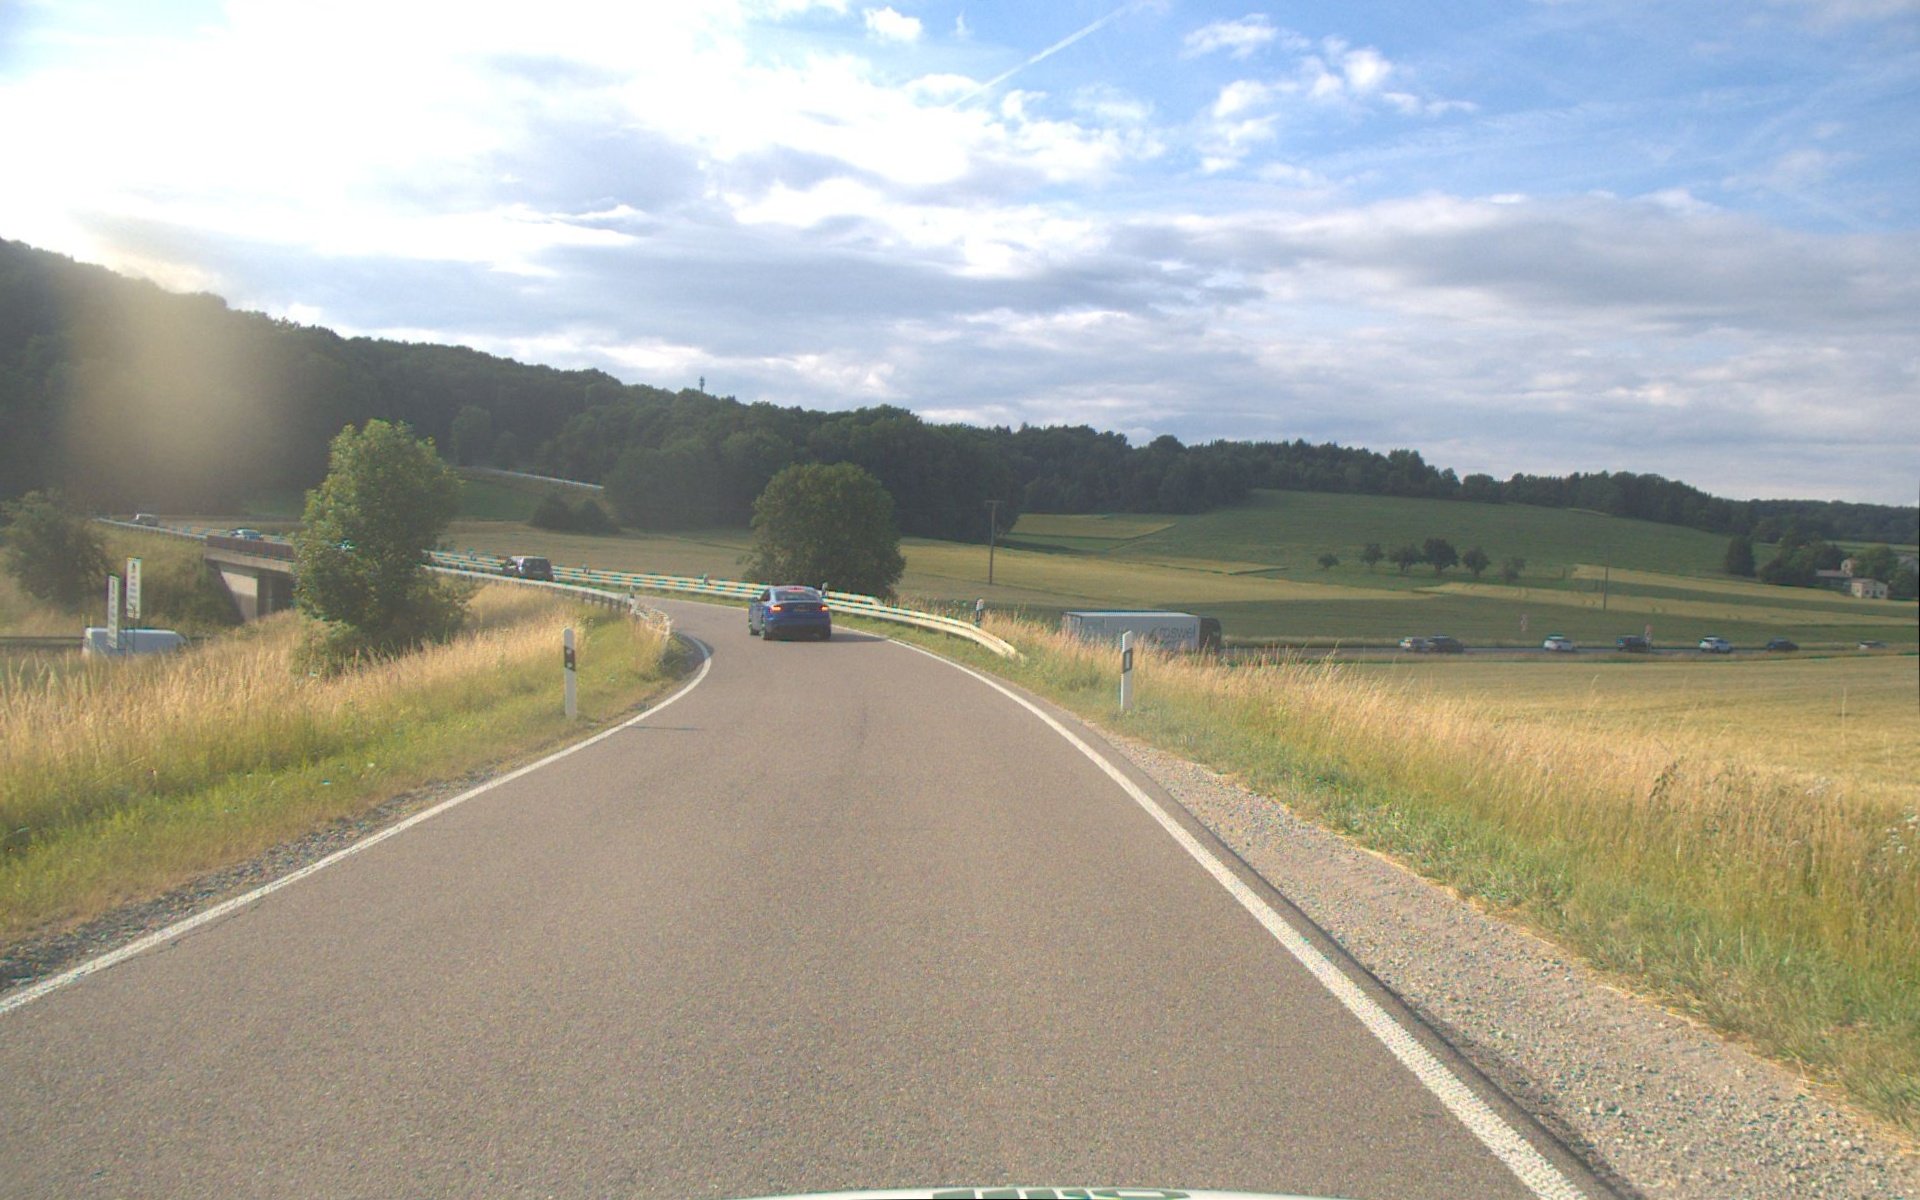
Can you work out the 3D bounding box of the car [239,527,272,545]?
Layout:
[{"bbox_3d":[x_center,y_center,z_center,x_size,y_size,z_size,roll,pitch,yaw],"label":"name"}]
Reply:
[{"bbox_3d":[-52.651,-4.814,123.563,1.461,1.248,3.256,1,2,-38],"label":"car"}]

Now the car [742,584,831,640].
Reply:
[{"bbox_3d":[-4.723,0.294,44.540,1.788,1.362,4.334,0,1,-14],"label":"car"}]

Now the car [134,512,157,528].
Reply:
[{"bbox_3d":[-91.738,-8.991,186.211,1.973,1.802,3.960,-3,4,-30],"label":"car"}]

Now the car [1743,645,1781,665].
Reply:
[{"bbox_3d":[88.111,6.043,181.683,3.948,2.049,1.978,1,-1,-32],"label":"car"}]

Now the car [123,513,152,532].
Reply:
[{"bbox_3d":[-78.335,-7.365,157.465,1.974,1.708,4.133,4,0,-32],"label":"car"}]

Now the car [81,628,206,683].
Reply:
[{"bbox_3d":[-46.276,3.097,93.816,6.055,2.627,2.346,0,7,-36],"label":"car"}]

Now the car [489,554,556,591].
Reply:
[{"bbox_3d":[-21.490,-1.370,81.171,1.848,1.596,3.949,1,2,-37],"label":"car"}]

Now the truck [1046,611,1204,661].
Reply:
[{"bbox_3d":[14.127,3.038,140.169,14.255,4.067,4.030,1,-1,-35],"label":"truck"}]
